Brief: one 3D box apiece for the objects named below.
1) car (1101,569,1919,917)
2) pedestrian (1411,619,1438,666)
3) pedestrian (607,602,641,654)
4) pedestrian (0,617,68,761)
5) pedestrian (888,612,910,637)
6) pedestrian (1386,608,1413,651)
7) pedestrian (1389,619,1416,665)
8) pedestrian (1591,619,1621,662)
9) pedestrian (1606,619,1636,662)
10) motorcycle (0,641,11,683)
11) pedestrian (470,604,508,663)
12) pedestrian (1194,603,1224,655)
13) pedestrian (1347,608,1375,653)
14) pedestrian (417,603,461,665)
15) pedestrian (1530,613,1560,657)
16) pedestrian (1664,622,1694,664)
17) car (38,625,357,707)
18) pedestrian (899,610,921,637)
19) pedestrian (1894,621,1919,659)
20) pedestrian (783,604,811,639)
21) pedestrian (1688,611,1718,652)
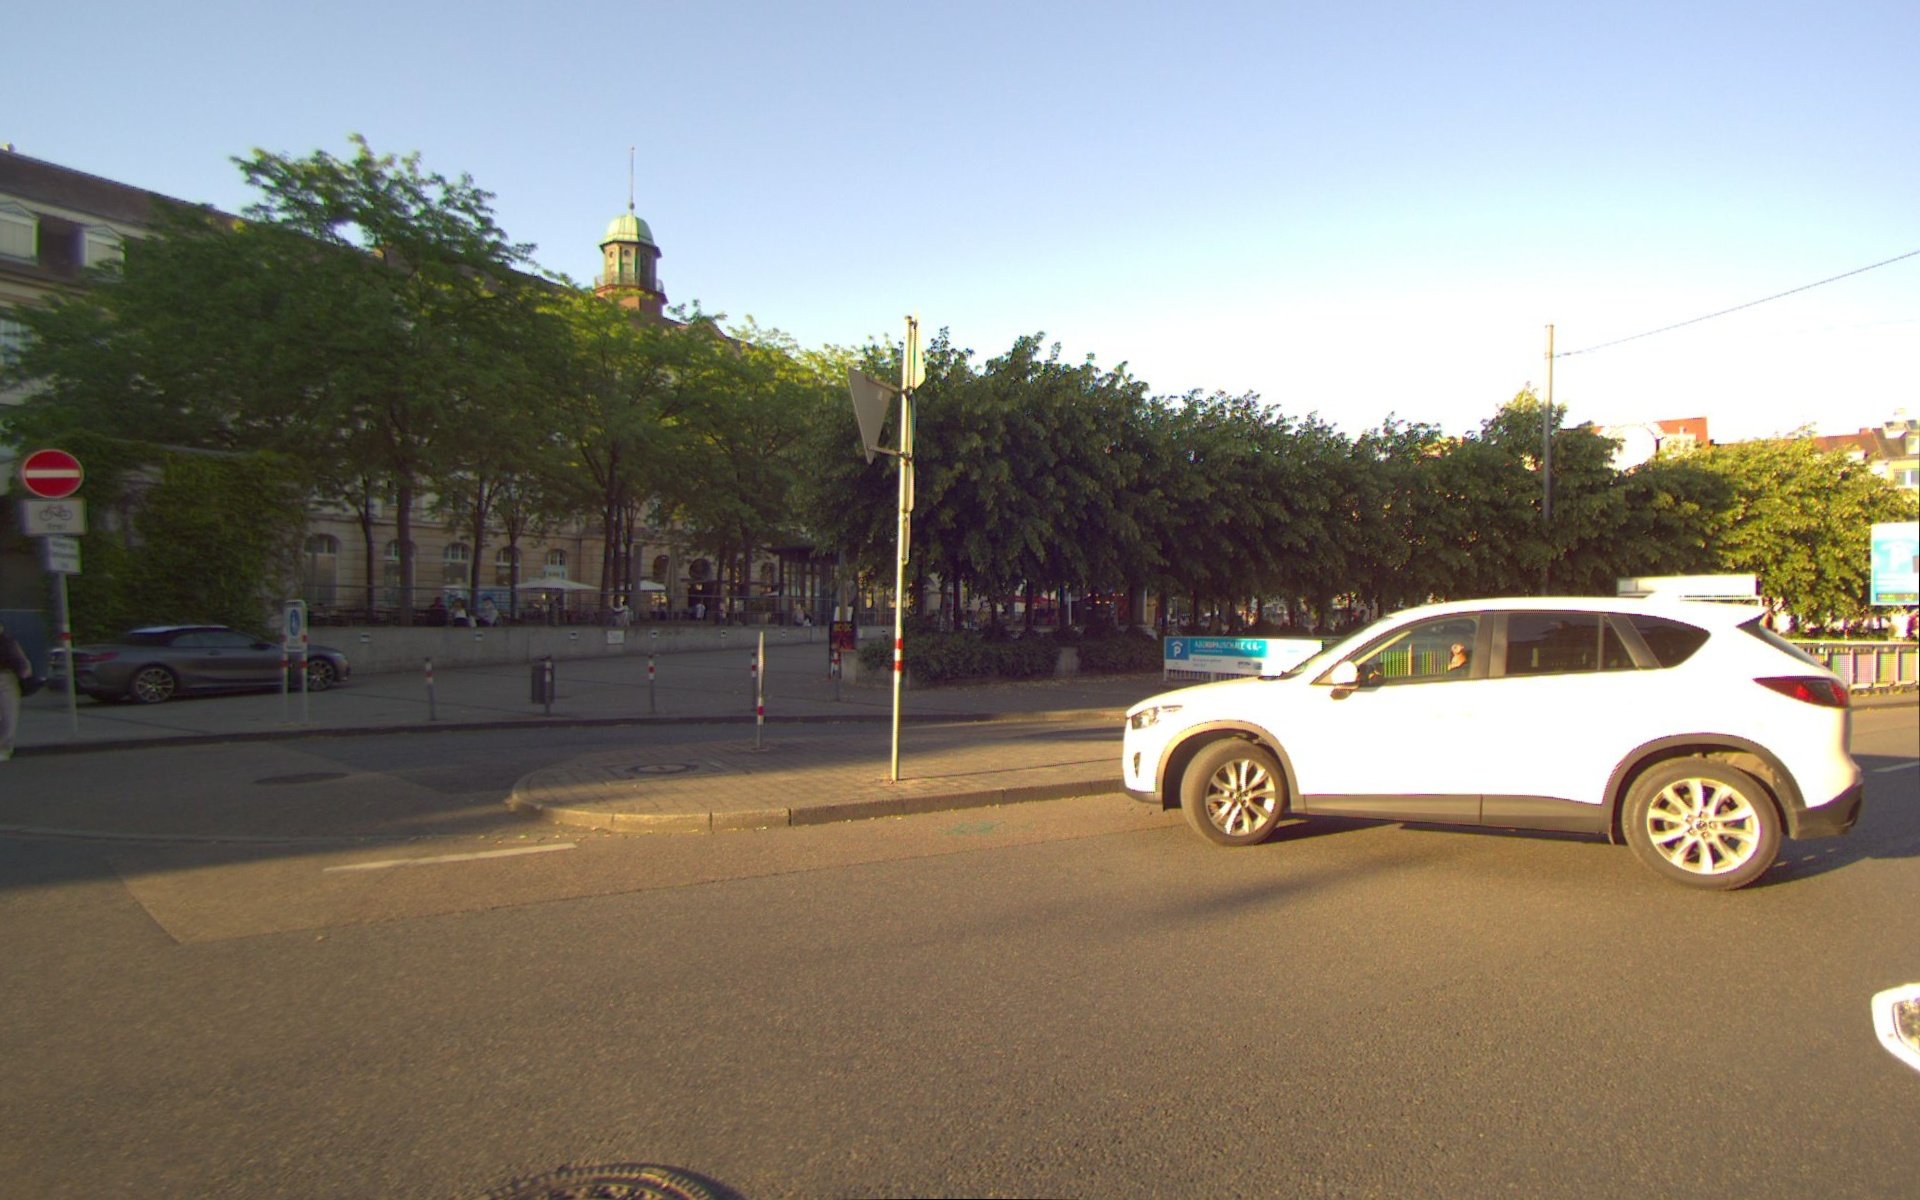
[{"bbox_3d":[3.395,0.761,7.035,4.382,1.784,1.998,0,-1,27],"label":"car"},{"bbox_3d":[16.441,1.497,35.555,0.558,1.616,0.678,1,0,-12],"label":"pedestrian"},{"bbox_3d":[-10.466,0.875,31.299,0.778,1.607,0.652,0,-2,34],"label":"pedestrian"},{"bbox_3d":[-10.898,0.995,11.544,0.885,1.587,0.765,-1,-1,34],"label":"pedestrian"},{"bbox_3d":[-2.596,1.029,42.526,0.703,1.073,0.609,0,-1,34],"label":"pedestrian"},{"bbox_3d":[16.659,1.124,38.100,0.558,1.616,0.791,1,0,-12],"label":"pedestrian"},{"bbox_3d":[15.631,1.474,35.474,0.558,1.616,0.678,1,0,-12],"label":"pedestrian"},{"bbox_3d":[24.515,1.532,38.122,0.665,1.616,0.678,1,0,-12],"label":"pedestrian"},{"bbox_3d":[25.178,1.532,38.263,0.665,1.616,0.678,1,0,-12],"label":"pedestrian"},{"bbox_3d":[-21.026,1.342,21.030,0.500,0.892,1.805,0,0,5],"label":"motorcycle"},{"bbox_3d":[-13.010,0.933,27.733,0.611,1.607,0.699,0,-2,35],"label":"pedestrian"},{"bbox_3d":[7.932,0.915,32.037,0.693,1.616,0.673,1,0,41],"label":"pedestrian"},{"bbox_3d":[14.439,1.098,36.185,0.558,1.616,0.791,1,0,-12],"label":"pedestrian"},{"bbox_3d":[-13.764,0.904,26.555,0.679,1.607,0.767,0,-2,35],"label":"pedestrian"},{"bbox_3d":[21.579,1.281,37.061,0.665,1.616,0.678,1,0,-12],"label":"pedestrian"},{"bbox_3d":[28.145,1.689,39.327,0.558,1.616,0.791,1,0,-12],"label":"pedestrian"},{"bbox_3d":[-14.490,1.175,19.402,1.963,1.335,4.522,-1,-1,28],"label":"car"},{"bbox_3d":[-2.155,1.012,43.179,0.703,1.134,0.609,0,-1,34],"label":"pedestrian"},{"bbox_3d":[41.016,1.723,43.399,0.558,1.616,0.791,1,0,-12],"label":"pedestrian"},{"bbox_3d":[-6.139,0.814,37.736,0.778,1.296,0.652,0,-2,34],"label":"pedestrian"},{"bbox_3d":[29.654,1.250,40.078,0.558,1.616,0.791,1,0,-12],"label":"pedestrian"}]
